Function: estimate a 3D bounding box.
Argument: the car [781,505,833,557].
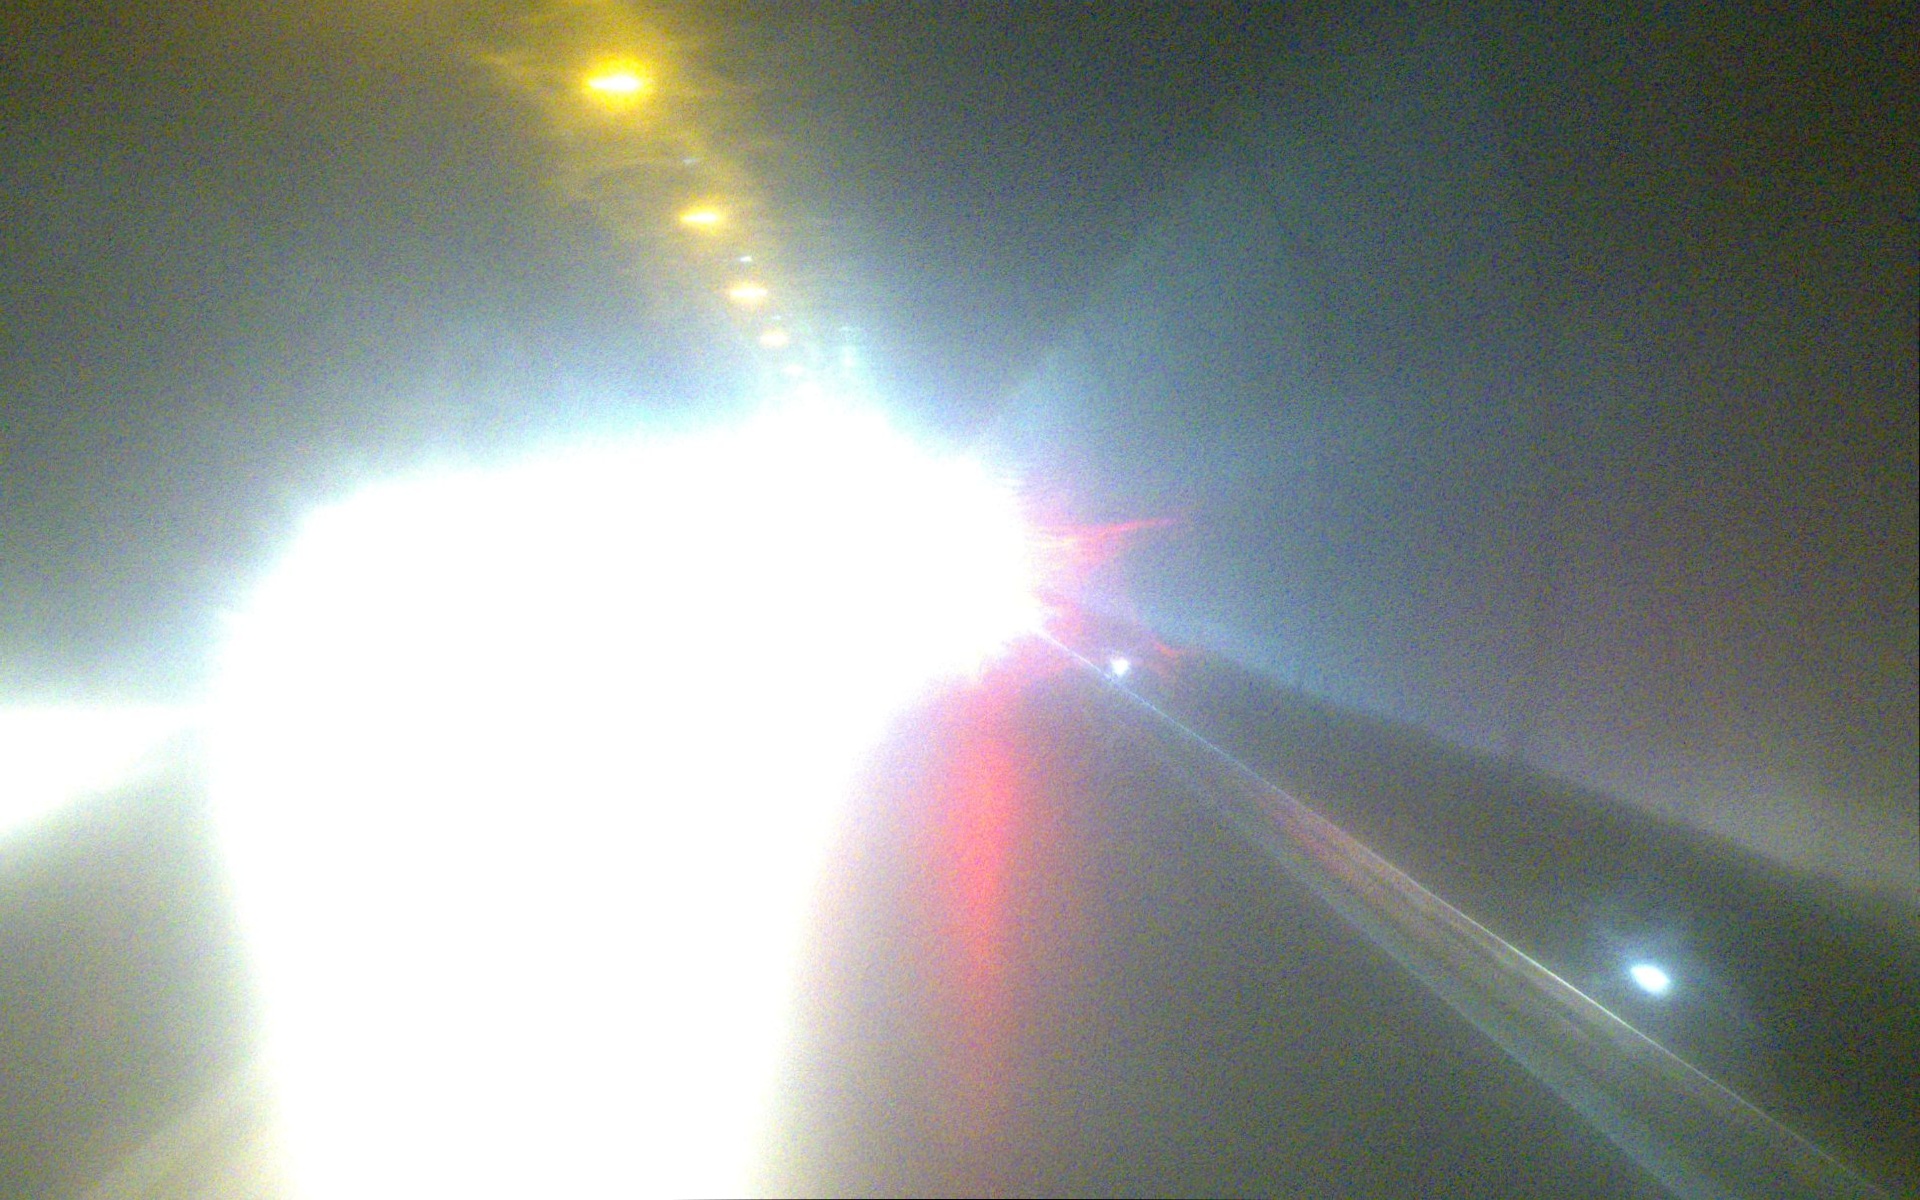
[{"bbox_3d":[-4.993,-2.253,112.457,1.569,1.626,3.730,-2,1,-1],"label":"car"}]

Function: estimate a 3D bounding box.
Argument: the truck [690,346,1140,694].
[{"bbox_3d":[-0.430,-0.748,32.047,3.535,2.684,8.957,-2,1,-1],"label":"truck"}]

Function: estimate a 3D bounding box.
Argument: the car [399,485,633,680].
[{"bbox_3d":[-3.924,-0.196,30.901,1.598,1.607,3.996,-1,1,-1],"label":"car"}]
